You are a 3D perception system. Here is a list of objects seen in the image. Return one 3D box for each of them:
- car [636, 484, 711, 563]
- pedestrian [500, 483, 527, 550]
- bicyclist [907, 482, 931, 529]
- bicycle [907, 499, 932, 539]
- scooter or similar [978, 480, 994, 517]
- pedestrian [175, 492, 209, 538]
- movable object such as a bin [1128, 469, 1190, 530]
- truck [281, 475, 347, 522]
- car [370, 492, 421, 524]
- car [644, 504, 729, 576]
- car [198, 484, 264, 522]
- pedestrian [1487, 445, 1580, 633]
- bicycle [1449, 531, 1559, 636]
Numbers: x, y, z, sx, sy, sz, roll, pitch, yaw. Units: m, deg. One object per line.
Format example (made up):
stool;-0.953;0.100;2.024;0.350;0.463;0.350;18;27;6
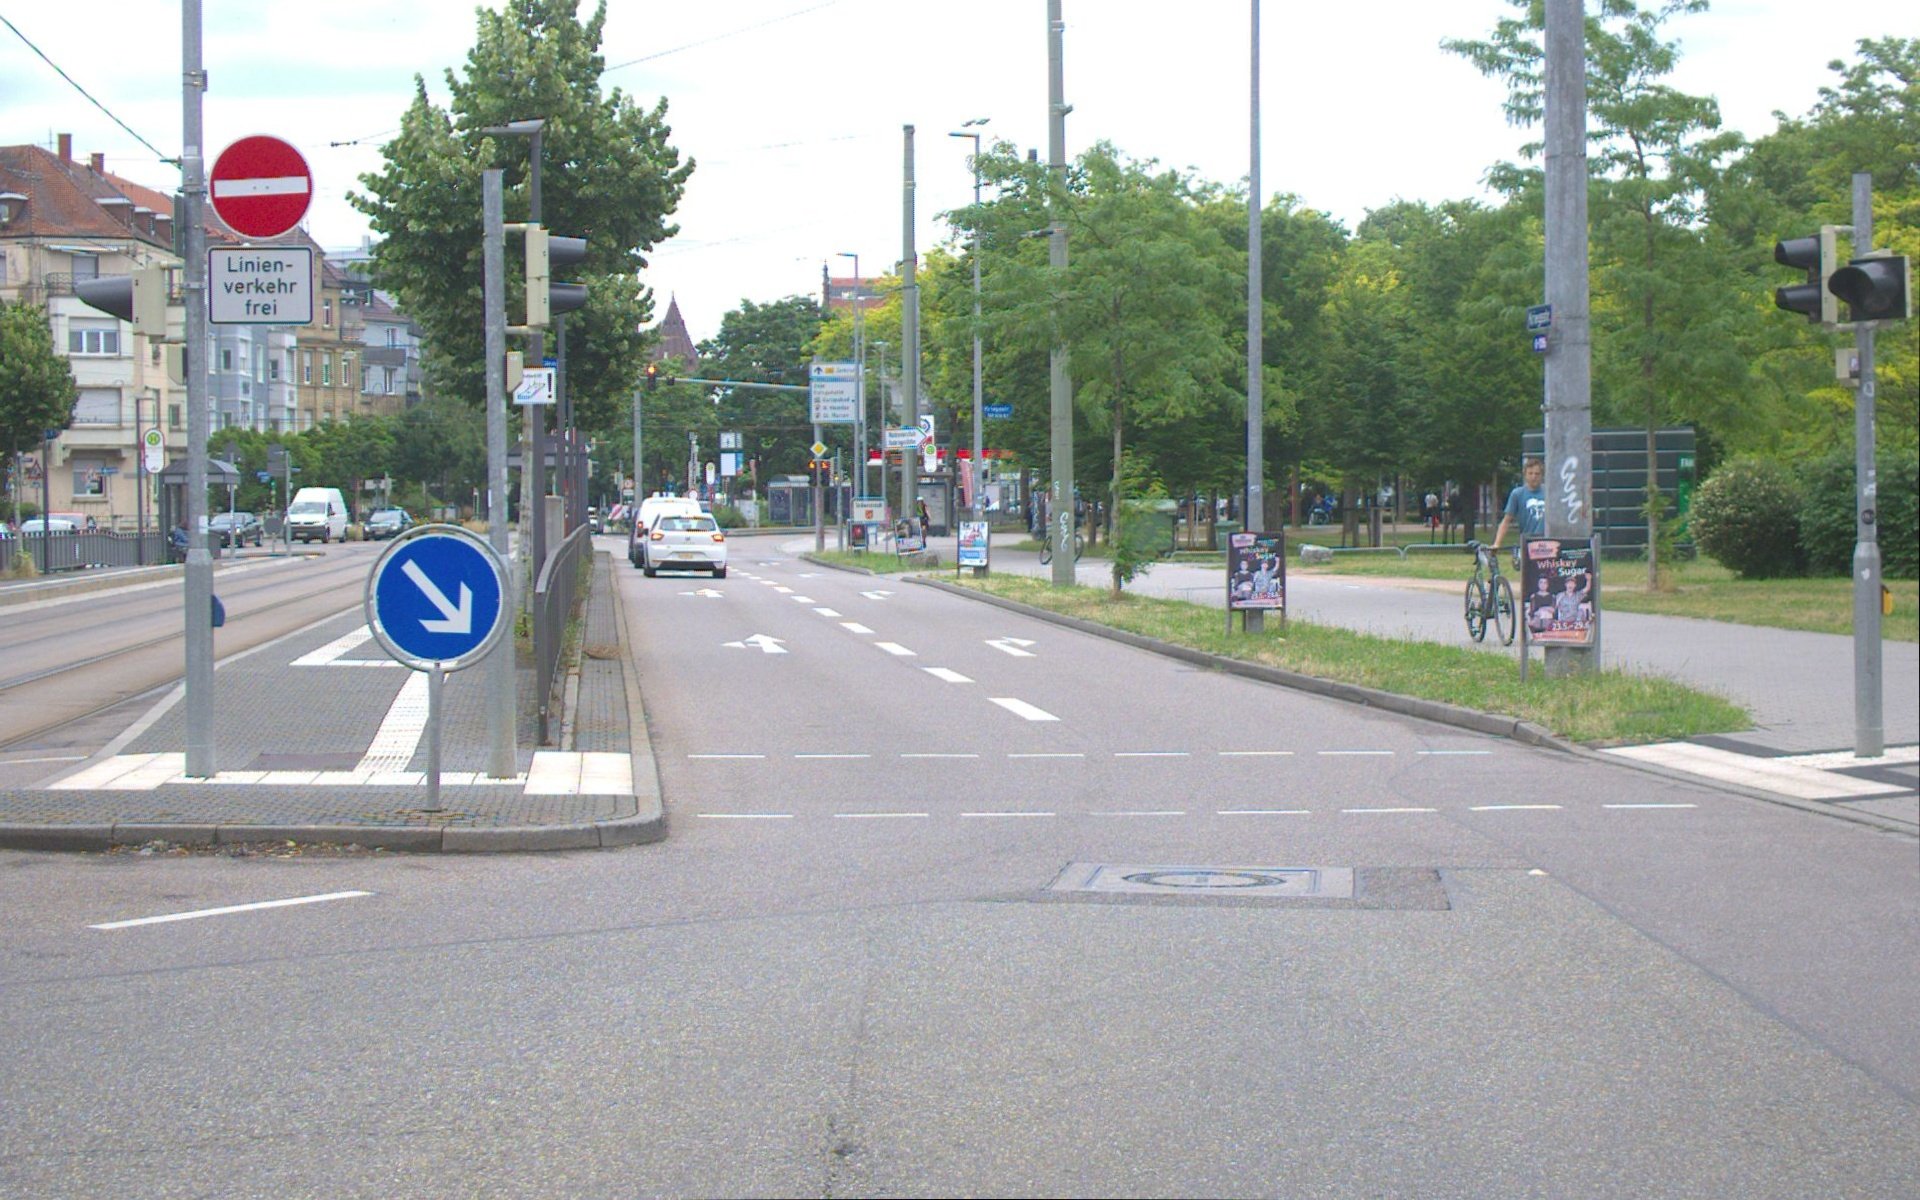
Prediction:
car;-7.374;-1.992;88.316;1.782;1.955;4.383;-1;2;-6
pedestrian;-10.453;-1.948;80.450;0.532;1.552;0.571;-1;2;-2
bicyclist;-1.210;-2.806;101.779;0.679;1.375;0.727;-1;2;-2
bicycle;-1.189;-2.403;101.786;0.679;1.151;1.898;-1;2;-2
scooter or similar;0.810;-3.141;106.312;0.376;1.137;1.199;-1;2;5
pedestrian;-21.439;-2.367;95.984;0.864;1.262;0.694;-1;2;-8
movable object such as a bin;4.638;-2.346;80.334;1.282;1.385;1.159;-1;2;-5
truck;-28.193;-4.432;150.192;1.788;2.025;5.396;-1;2;1
car;-27.074;-4.422;164.884;1.770;1.488;3.887;-1;2;1
car;-5.911;-1.316;74.671;1.782;1.467;4.011;-1;2;-4
car;-29.239;-3.883;137.987;1.770;1.488;3.887;-1;2;1
pedestrian;5.792;-0.625;34.751;0.739;1.863;0.682;-1;2;-6
bicycle;5.464;-0.183;34.611;0.654;0.999;1.779;-1;2;-6
